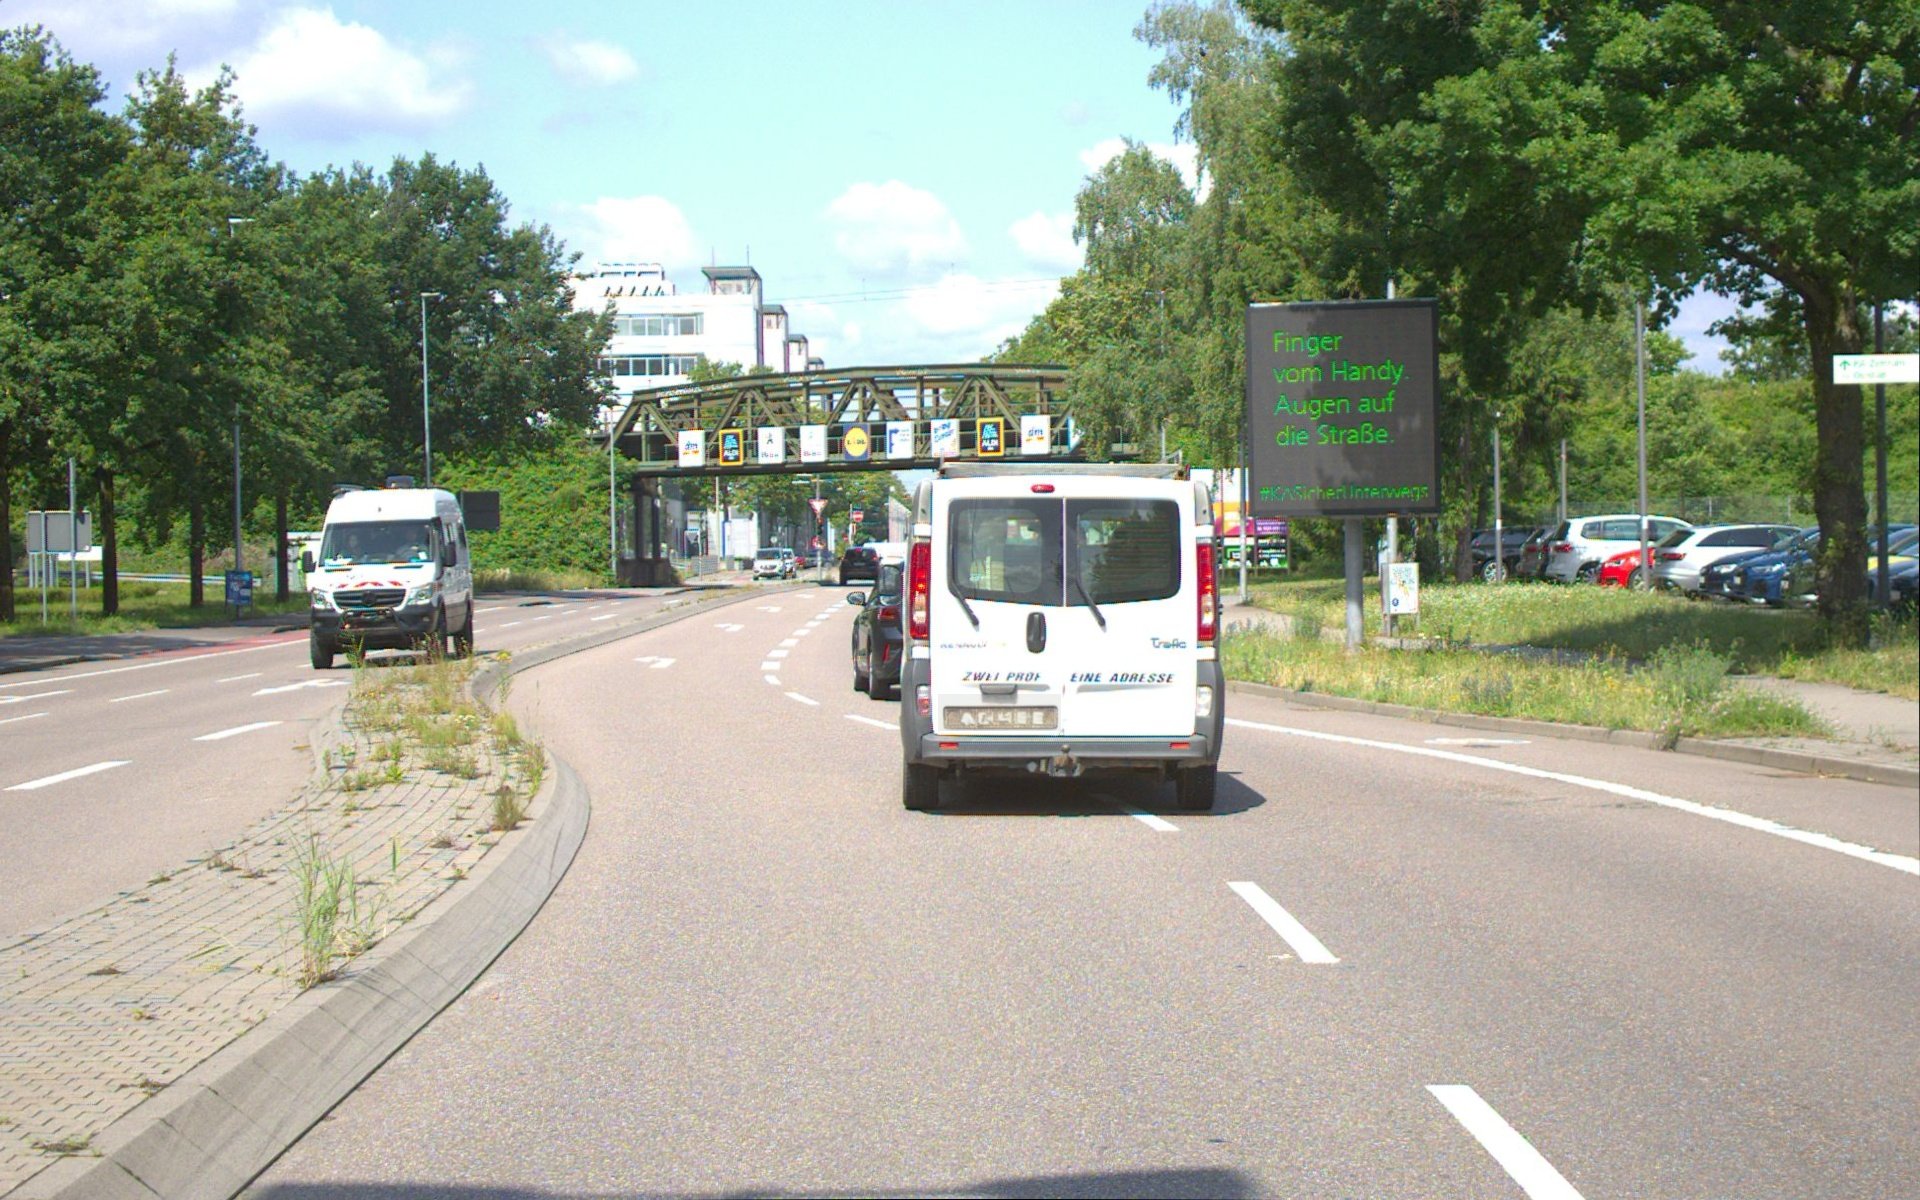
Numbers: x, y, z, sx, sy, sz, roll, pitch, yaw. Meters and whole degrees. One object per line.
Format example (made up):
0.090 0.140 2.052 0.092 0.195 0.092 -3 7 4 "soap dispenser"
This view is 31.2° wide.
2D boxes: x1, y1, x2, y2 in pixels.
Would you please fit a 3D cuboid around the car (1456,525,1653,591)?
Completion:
14.226 -1.019 82.471 4.354 1.507 1.936 0 3 -1 "car"

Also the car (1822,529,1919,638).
15.030 -0.255 50.196 4.354 1.507 1.936 0 3 -1 "car"

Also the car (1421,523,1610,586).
13.812 -1.138 85.587 4.354 1.507 1.936 0 3 -1 "car"

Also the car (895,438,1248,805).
0.605 0.041 21.626 1.973 2.052 4.565 0 2 -1 "car"

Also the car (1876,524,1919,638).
15.187 -0.282 47.808 4.354 1.507 1.936 0 3 -1 "car"

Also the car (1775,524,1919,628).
14.858 -0.382 52.442 4.354 1.507 1.936 0 3 -1 "car"

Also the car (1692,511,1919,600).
15.350 -0.796 60.813 4.354 1.507 1.936 0 3 -1 "car"

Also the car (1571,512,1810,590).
14.697 -1.000 69.320 4.354 1.507 1.936 0 3 -1 "car"

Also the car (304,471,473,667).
-8.986 -0.507 54.557 2.022 2.883 6.383 -1 1 -4 "car"

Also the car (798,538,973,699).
-0.881 0.160 38.510 1.773 1.623 4.001 -1 2 -4 "car"

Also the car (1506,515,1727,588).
14.175 -1.061 74.391 4.354 1.507 1.936 0 3 -1 "car"

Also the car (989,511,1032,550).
3.290 -4.504 223.330 2.379 2.467 4.761 -1 1 5 "car"

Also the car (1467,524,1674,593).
13.942 -0.954 78.646 4.354 1.507 1.936 0 3 -1 "car"

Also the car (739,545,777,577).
-12.755 -2.460 216.783 1.993 2.007 4.000 -1 1 2 "car"

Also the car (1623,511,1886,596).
14.618 -0.870 63.403 4.354 1.507 1.936 0 3 -1 "car"

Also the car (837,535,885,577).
-4.435 -1.998 154.882 1.993 1.765 4.001 0 3 1 "car"

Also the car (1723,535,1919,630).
15.224 -0.310 57.722 4.354 1.507 1.936 0 3 -1 "car"

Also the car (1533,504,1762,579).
14.332 -1.229 71.804 4.354 1.507 1.936 0 3 -1 "car"

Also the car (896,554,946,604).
-1.600 -0.881 143.467 1.993 2.007 4.000 -1 1 0 "car"
